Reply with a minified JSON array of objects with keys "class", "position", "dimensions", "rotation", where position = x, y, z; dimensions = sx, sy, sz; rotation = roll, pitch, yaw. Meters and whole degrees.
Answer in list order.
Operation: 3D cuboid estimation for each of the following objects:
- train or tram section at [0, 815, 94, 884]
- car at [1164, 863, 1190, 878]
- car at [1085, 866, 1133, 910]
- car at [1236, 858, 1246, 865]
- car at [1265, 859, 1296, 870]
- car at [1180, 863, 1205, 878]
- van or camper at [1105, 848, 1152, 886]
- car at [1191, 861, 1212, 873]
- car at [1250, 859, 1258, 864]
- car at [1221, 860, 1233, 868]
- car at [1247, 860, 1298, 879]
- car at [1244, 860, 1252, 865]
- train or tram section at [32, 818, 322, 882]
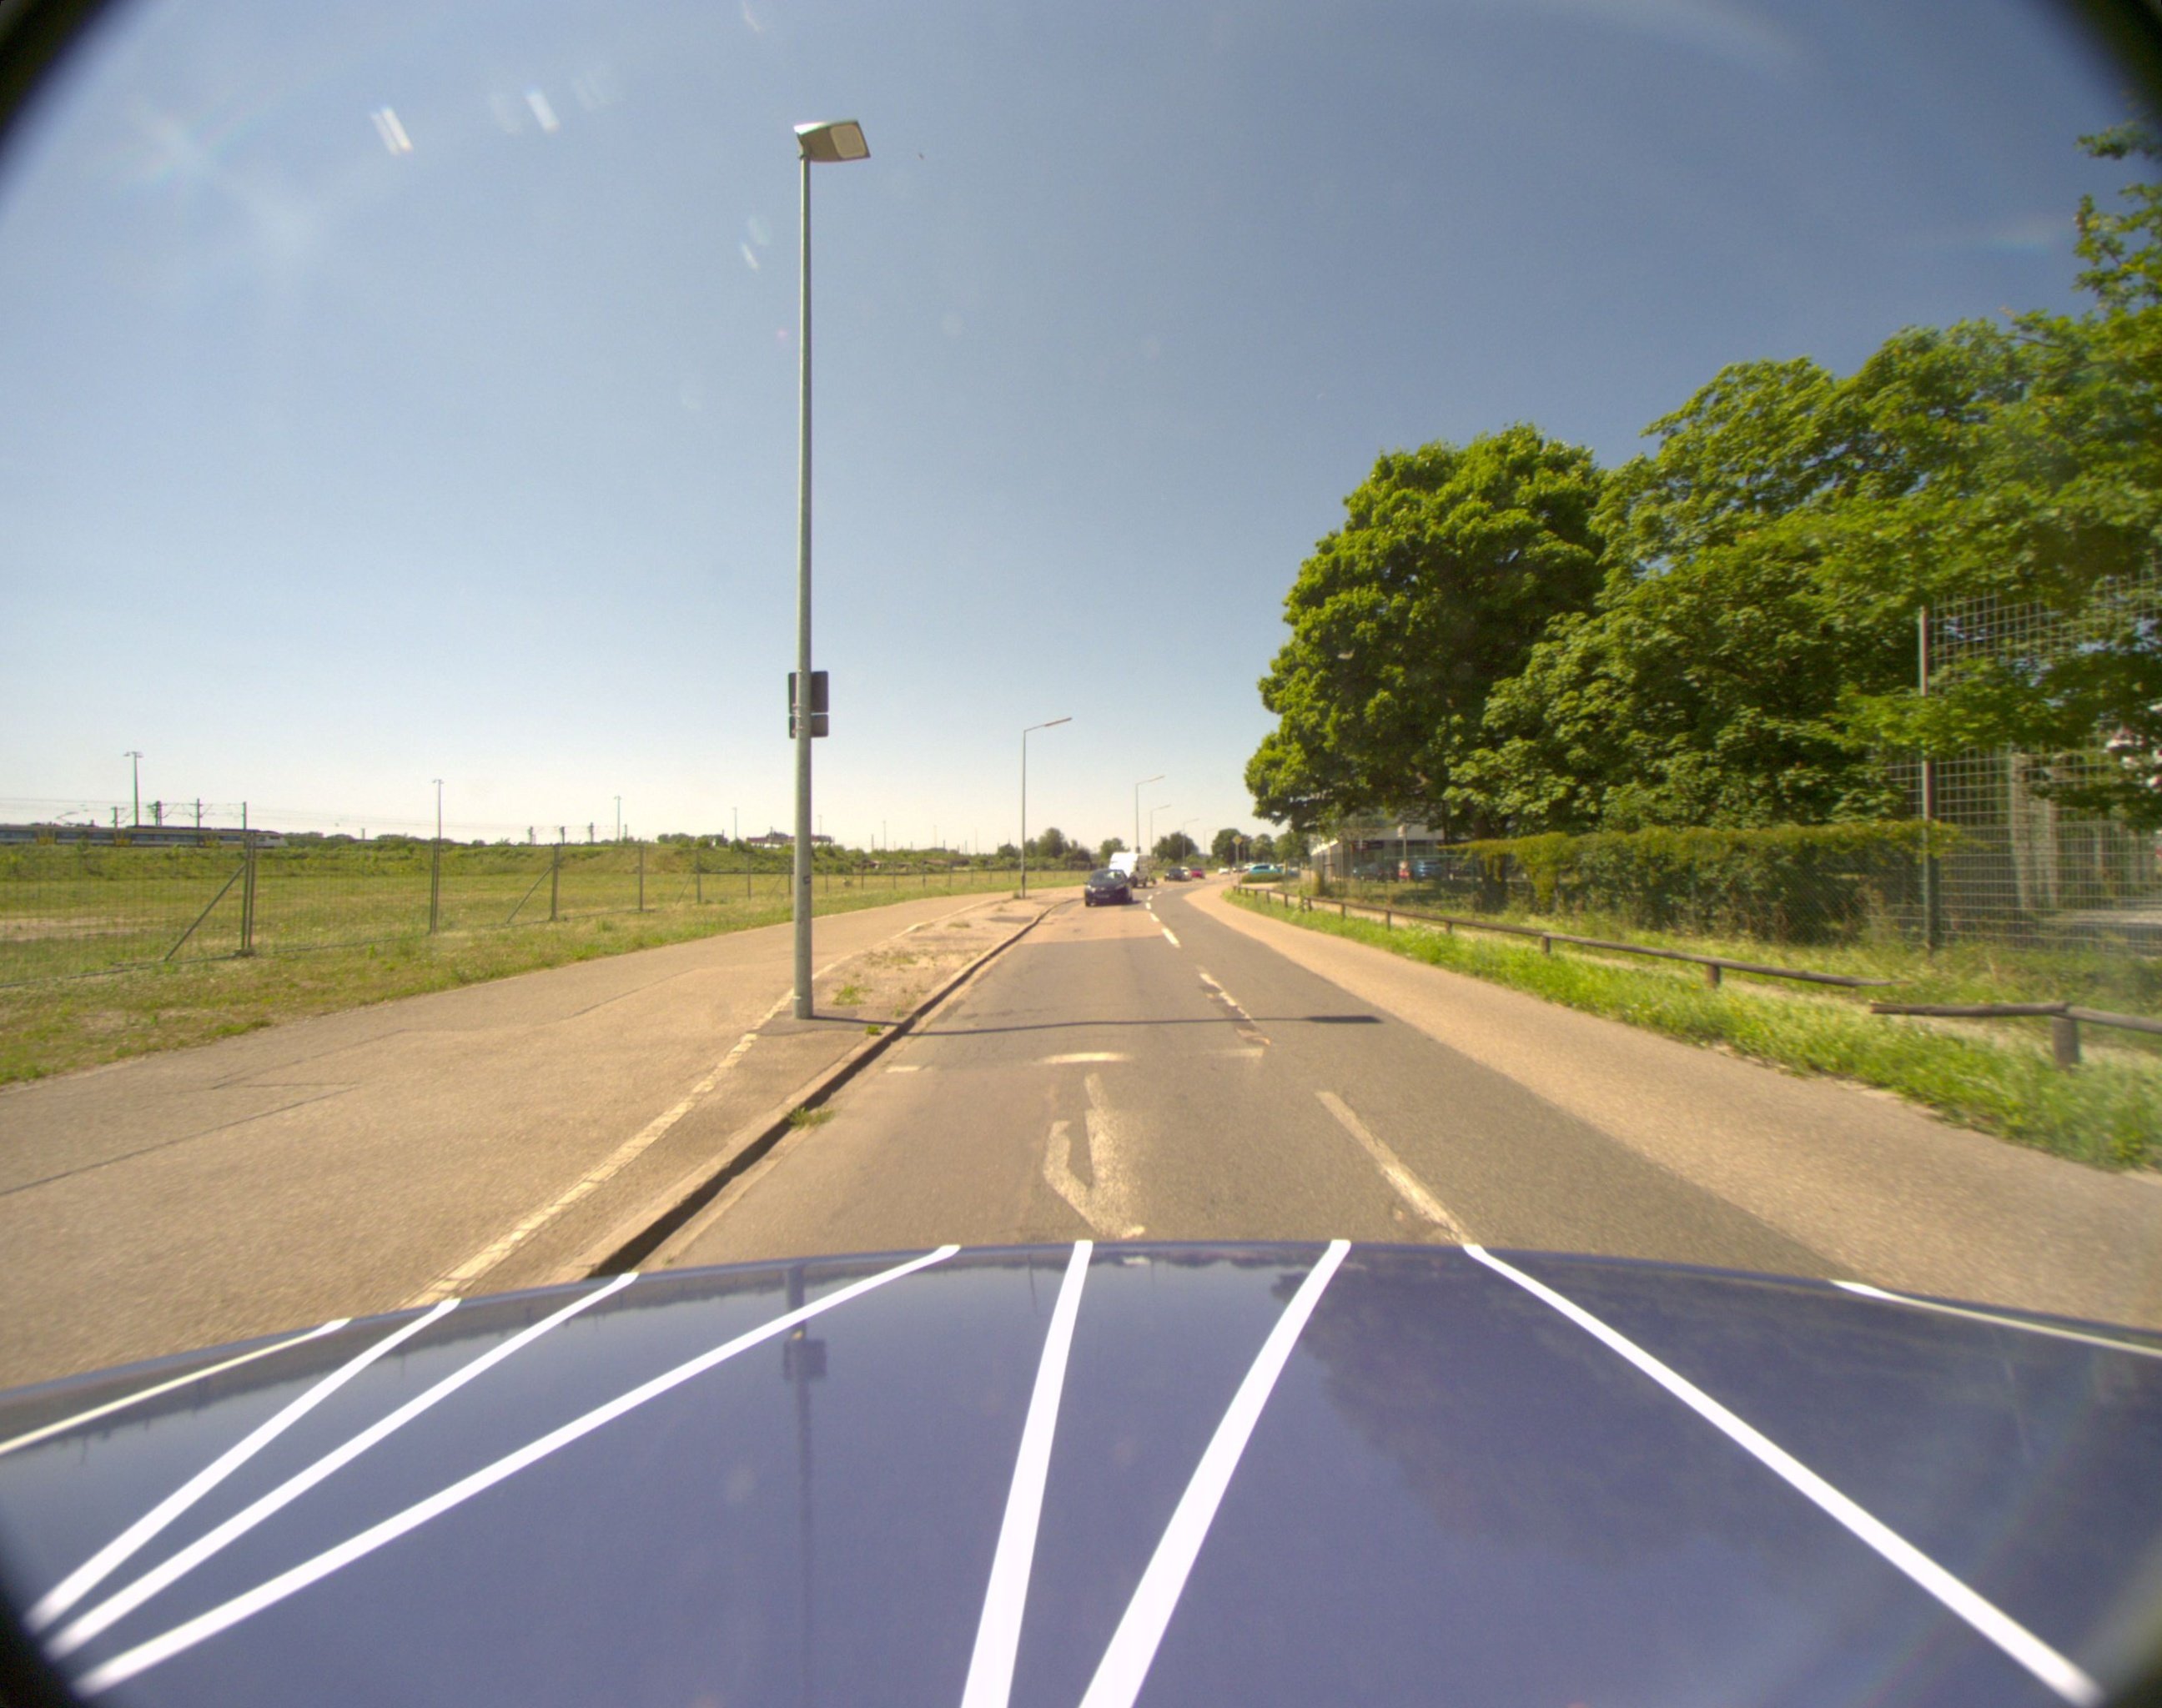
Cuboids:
[{"class":"train or tram section","position":[-164.595,-0.667,98.097],"dimensions":[9.581,9.866,44.842],"rotation":[-1,0,16]},{"class":"car","position":[9.831,1.634,77.255],"dimensions":[1.651,1.458,3.872],"rotation":[-1,0,22]},{"class":"car","position":[1.173,1.278,30.210],"dimensions":[1.653,1.458,4.161],"rotation":[-5,-1,4]},{"class":"car","position":[37.745,1.835,179.352],"dimensions":[1.996,1.575,4.005],"rotation":[-1,0,17]},{"class":"car","position":[28.271,1.481,107.705],"dimensions":[3.991,1.543,1.626],"rotation":[-1,0,20]},{"class":"car","position":[12.129,1.777,82.431],"dimensions":[1.651,1.458,3.873],"rotation":[-1,0,24]},{"class":"van or camper","position":[3.535,0.916,55.188],"dimensions":[2.138,2.557,5.874],"rotation":[-1,0,16]},{"class":"car","position":[14.884,1.593,93.828],"dimensions":[1.651,1.458,3.872],"rotation":[-1,0,22]},{"class":"car","position":[52.437,2.339,230.370],"dimensions":[1.707,1.575,3.755],"rotation":[-1,0,19]},{"class":"car","position":[26.241,1.808,136.578],"dimensions":[1.652,1.458,3.871],"rotation":[-1,0,17]},{"class":"car","position":[16.148,1.269,64.004],"dimensions":[3.991,1.543,1.894],"rotation":[-1,0,20]},{"class":"car","position":[45.742,2.305,208.174],"dimensions":[1.652,1.458,3.871],"rotation":[-1,0,17]},{"class":"train or tram section","position":[-154.918,-0.497,132.408],"dimensions":[9.581,9.866,31.255],"rotation":[-1,0,16]}]
